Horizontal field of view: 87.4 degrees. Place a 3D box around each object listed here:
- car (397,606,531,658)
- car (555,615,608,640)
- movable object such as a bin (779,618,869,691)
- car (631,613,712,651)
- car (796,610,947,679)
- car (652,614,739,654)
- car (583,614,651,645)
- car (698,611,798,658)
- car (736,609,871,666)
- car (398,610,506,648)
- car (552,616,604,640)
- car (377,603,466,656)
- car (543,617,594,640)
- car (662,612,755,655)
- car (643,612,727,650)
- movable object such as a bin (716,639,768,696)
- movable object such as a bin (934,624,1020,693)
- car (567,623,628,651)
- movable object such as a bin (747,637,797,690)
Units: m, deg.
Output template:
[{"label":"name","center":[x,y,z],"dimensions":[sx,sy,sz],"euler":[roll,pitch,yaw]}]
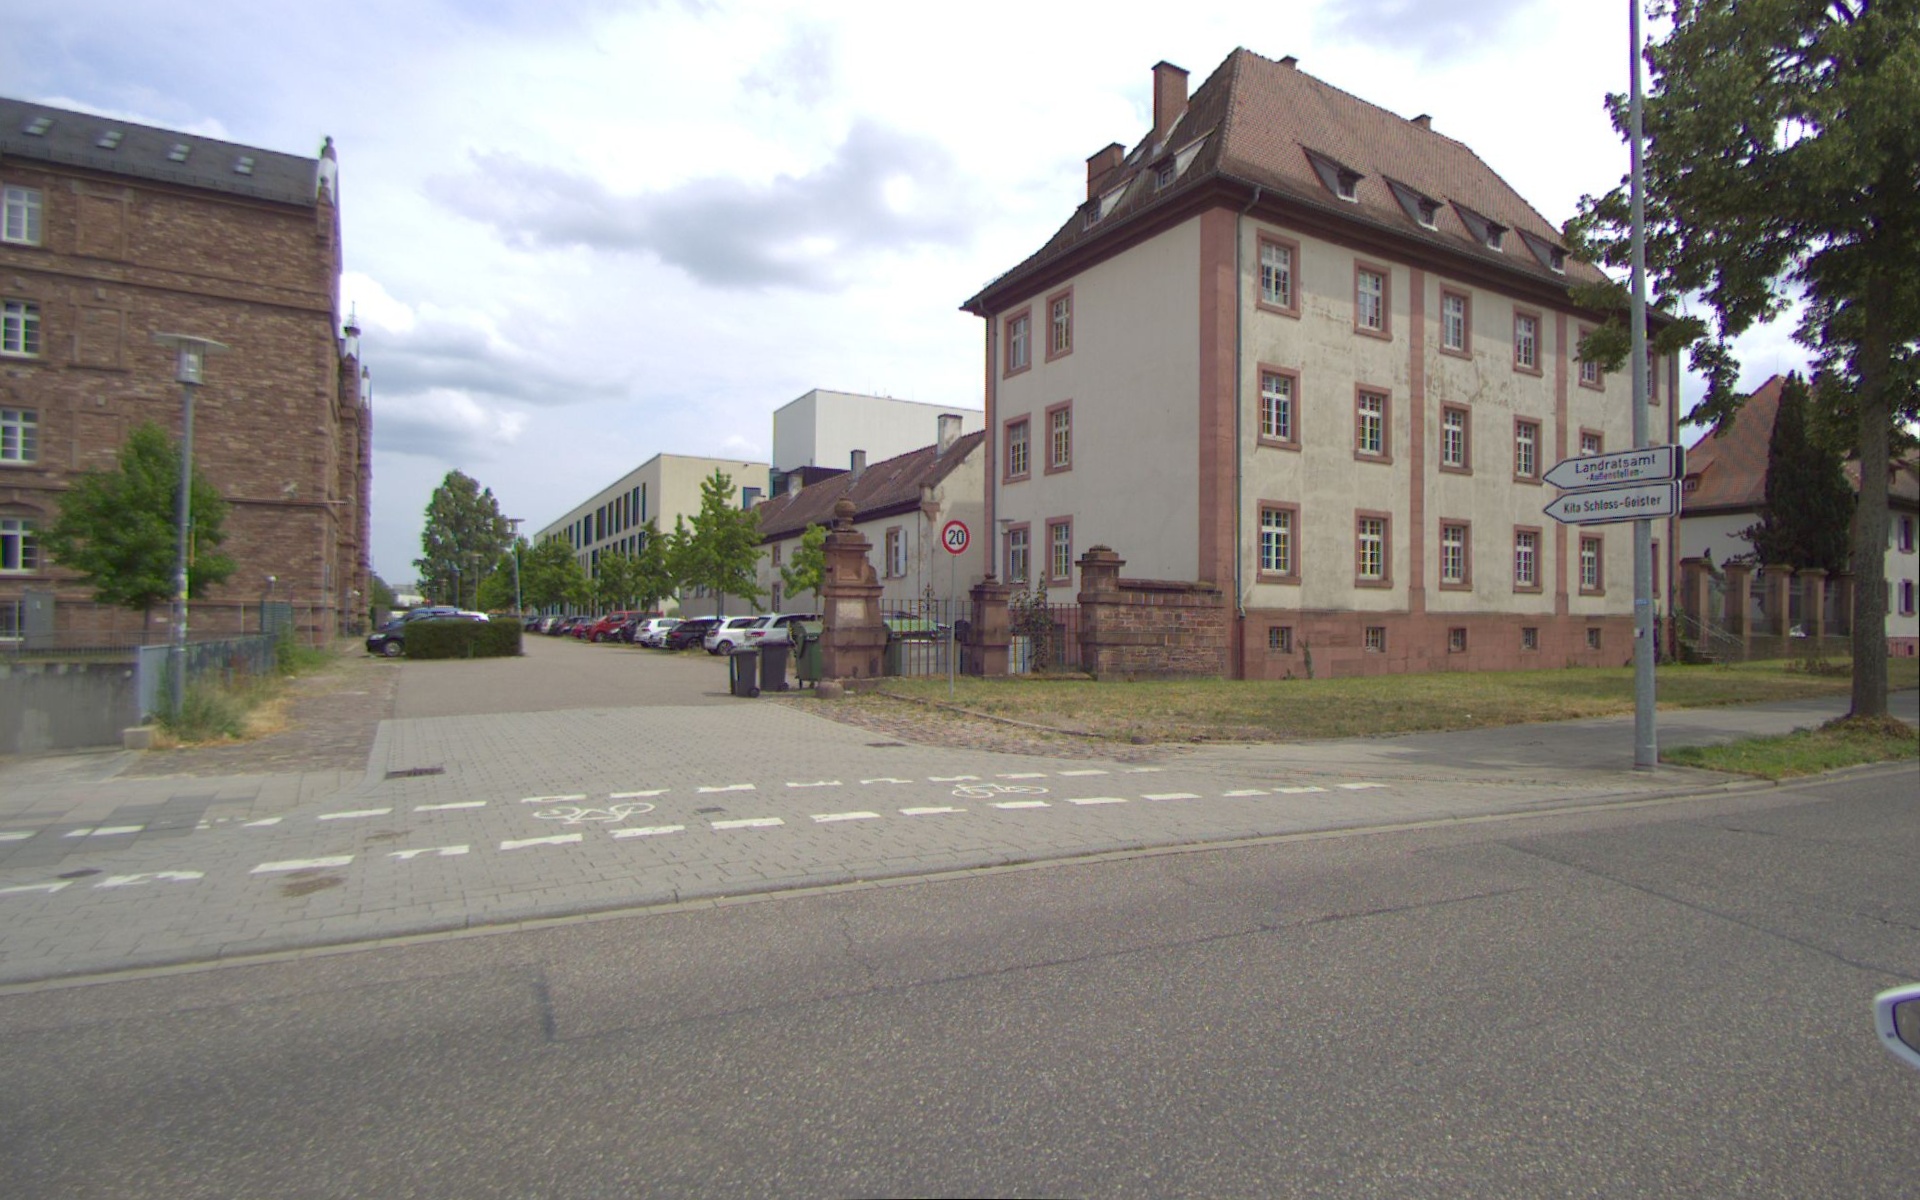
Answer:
[{"label":"car","center":[-17.242,1.092,35.012],"dimensions":[4.115,1.733,1.578],"euler":[1,-1,-28]},{"label":"car","center":[-29.117,2.105,77.308],"dimensions":[3.651,1.733,1.577],"euler":[-1,0,-30]},{"label":"movable object such as a bin","center":[-2.901,1.150,21.376],"dimensions":[1.552,1.487,1.196],"euler":[2,-2,-30]},{"label":"car","center":[-14.694,1.613,51.153],"dimensions":[3.651,1.733,1.759],"euler":[-1,0,-30]},{"label":"car","center":[-2.515,1.223,28.777],"dimensions":[3.910,1.733,1.759],"euler":[-1,0,-30]},{"label":"car","center":[-12.462,1.565,47.362],"dimensions":[3.651,1.733,1.759],"euler":[-1,0,-30]},{"label":"car","center":[-20.914,1.790,61.214],"dimensions":[3.651,1.733,1.577],"euler":[-1,0,-30]},{"label":"car","center":[-8.724,1.396,41.422],"dimensions":[3.651,1.733,1.759],"euler":[-1,0,-30]},{"label":"car","center":[-5.362,1.255,34.563],"dimensions":[4.238,1.733,1.759],"euler":[-1,0,-30]},{"label":"car","center":[-22.095,1.249,43.755],"dimensions":[4.116,1.570,1.577],"euler":[1,-1,-29]},{"label":"car","center":[-30.183,2.195,79.343],"dimensions":[3.651,1.733,1.577],"euler":[-1,0,-30]},{"label":"car","center":[-28.633,1.543,53.490],"dimensions":[4.118,2.749,1.577],"euler":[1,-1,-30]},{"label":"car","center":[-31.673,2.306,81.339],"dimensions":[3.651,1.733,1.577],"euler":[-1,0,-30]},{"label":"car","center":[-11.127,1.459,44.437],"dimensions":[3.651,1.733,1.759],"euler":[-1,0,-30]},{"label":"car","center":[-13.519,1.511,49.421],"dimensions":[3.651,1.733,1.759],"euler":[-1,0,-30]},{"label":"movable object such as a bin","center":[-4.194,1.278,19.305],"dimensions":[0.701,1.047,1.034],"euler":[2,-2,-29]},{"label":"movable object such as a bin","center":[0.401,1.311,22.926],"dimensions":[1.310,1.487,1.566],"euler":[0,-2,35]},{"label":"car","center":[-24.890,2.508,68.977],"dimensions":[3.651,1.733,1.577],"euler":[-1,0,-30]},{"label":"movable object such as a bin","center":[-3.891,1.302,20.739],"dimensions":[0.701,1.047,1.034],"euler":[2,-2,-29]}]
